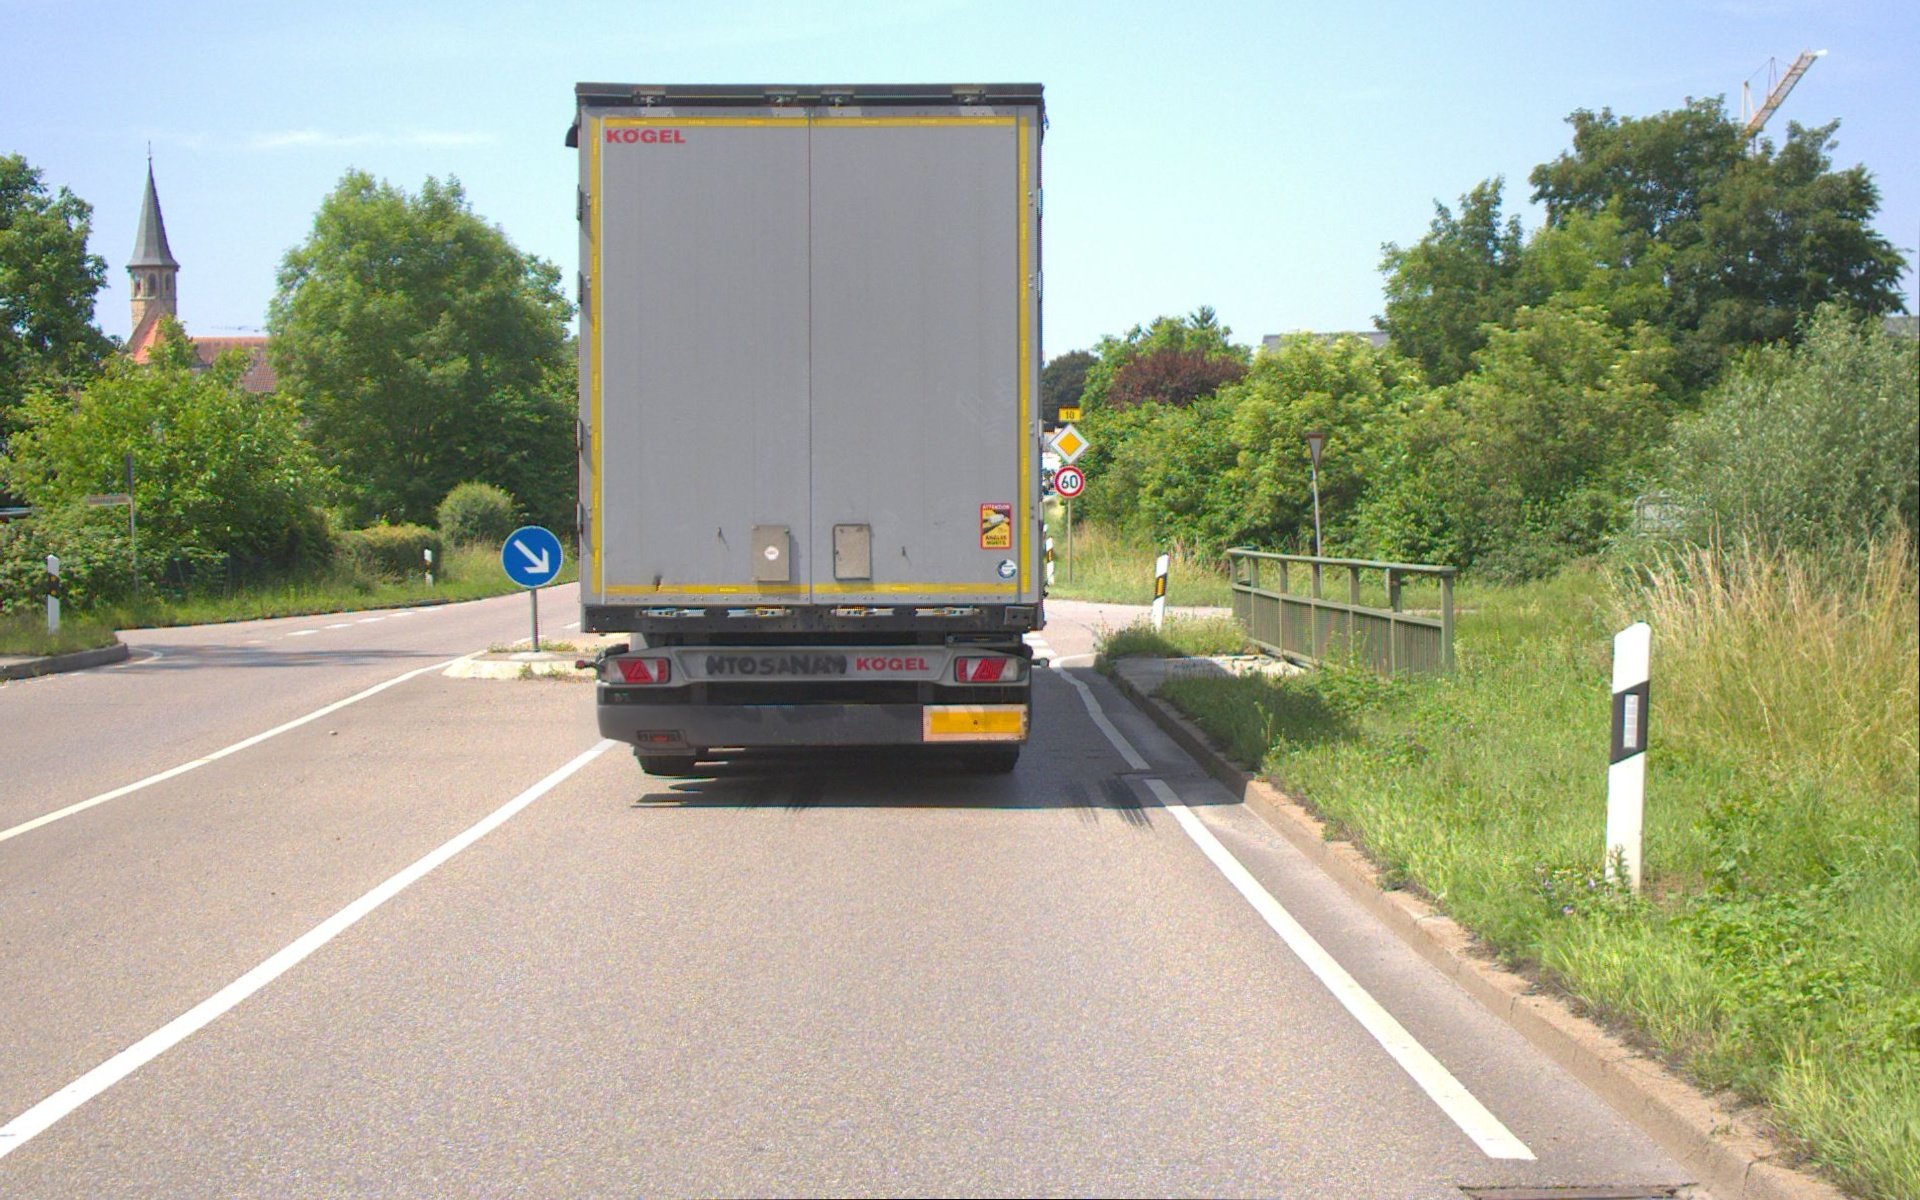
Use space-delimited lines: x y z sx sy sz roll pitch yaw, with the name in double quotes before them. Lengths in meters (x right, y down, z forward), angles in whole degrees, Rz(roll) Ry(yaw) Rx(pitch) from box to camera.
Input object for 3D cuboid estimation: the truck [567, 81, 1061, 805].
"truck" -0.945 -0.930 23.034 2.647 3.903 8.826 0 1 -2
